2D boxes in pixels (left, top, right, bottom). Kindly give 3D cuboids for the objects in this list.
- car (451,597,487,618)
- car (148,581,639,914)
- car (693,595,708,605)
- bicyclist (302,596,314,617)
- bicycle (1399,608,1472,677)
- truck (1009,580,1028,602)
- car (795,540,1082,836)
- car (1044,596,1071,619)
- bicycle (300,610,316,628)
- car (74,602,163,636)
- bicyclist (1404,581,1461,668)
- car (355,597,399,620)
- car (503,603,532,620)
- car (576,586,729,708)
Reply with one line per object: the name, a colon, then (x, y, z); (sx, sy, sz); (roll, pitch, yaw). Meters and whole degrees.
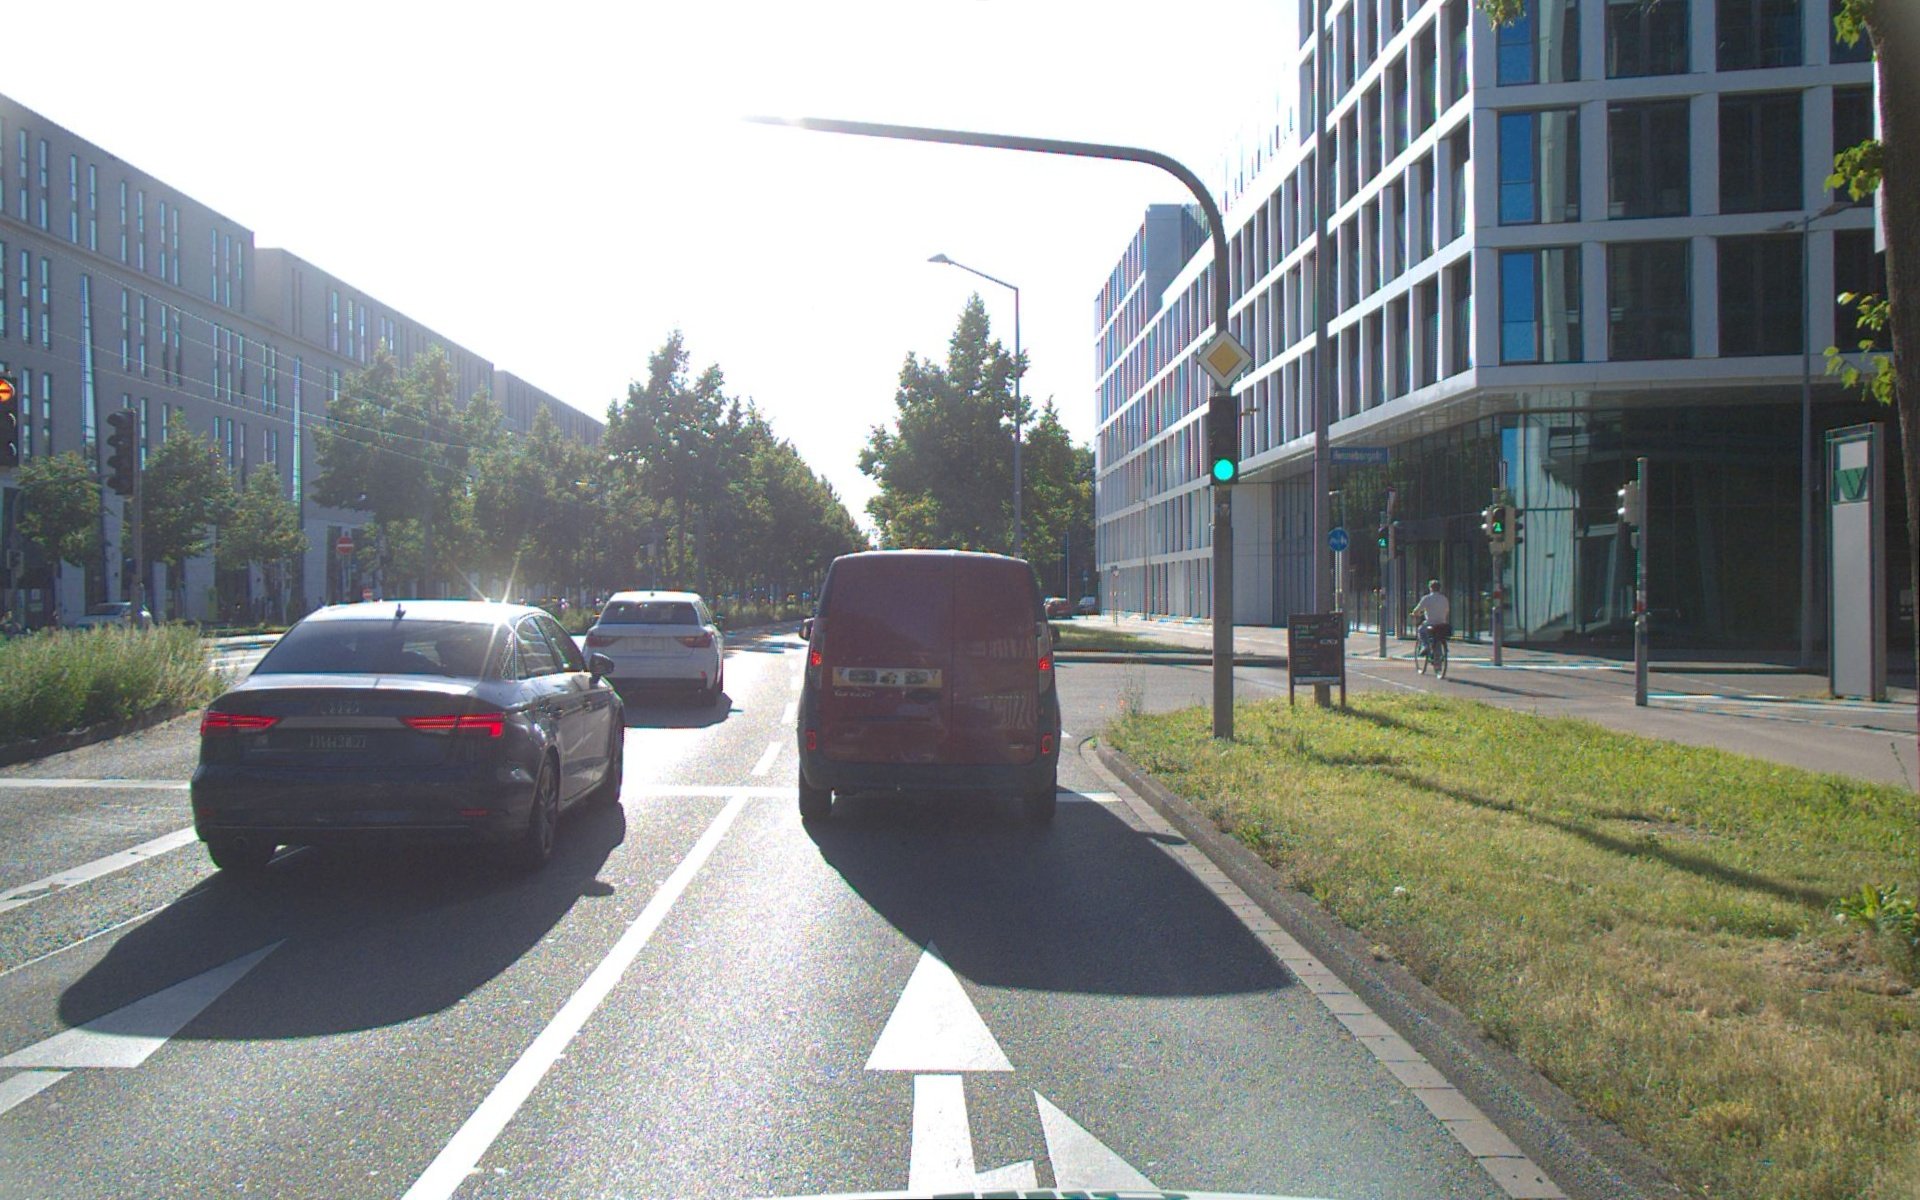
car: (-37.832, 0.561, 127.577); (1.740, 1.555, 3.804); (0, 0, -2)
car: (-3.070, 0.682, 9.888); (1.772, 1.554, 4.109); (0, 0, -4)
car: (-40.279, 0.029, 256.735); (1.720, 1.601, 3.998); (0, 0, -2)
bicyclist: (-40.942, 0.391, 103.898); (0.567, 1.316, 0.703); (1, -1, -9)
bicycle: (8.671, 0.756, 30.246); (0.726, 1.194, 1.961); (0, 0, -2)
truck: (6.735, -1.003, 190.666); (1.795, 2.545, 5.930); (0, 0, -2)
car: (-0.157, 0.533, 12.331); (1.771, 1.825, 4.112); (0, 0, -1)
car: (7.053, 0.513, 119.947); (1.722, 1.640, 3.903); (0, 0, 0)
bicycle: (-40.972, 1.178, 103.997); (0.518, 1.130, 1.635); (0, 0, -7)
car: (-35.137, 0.788, 69.164); (1.548, 1.366, 4.470); (0, 0, -2)
bicyclist: (8.621, 0.432, 30.184); (0.756, 1.558, 0.849); (-1, 0, -2)
car: (-35.984, 0.529, 102.166); (1.548, 1.366, 3.710); (0, 0, -2)
car: (-37.547, 0.962, 140.418); (1.548, 1.366, 3.710); (0, 0, -2)
car: (-4.024, 0.560, 22.201); (1.774, 1.460, 4.106); (0, 0, -7)
